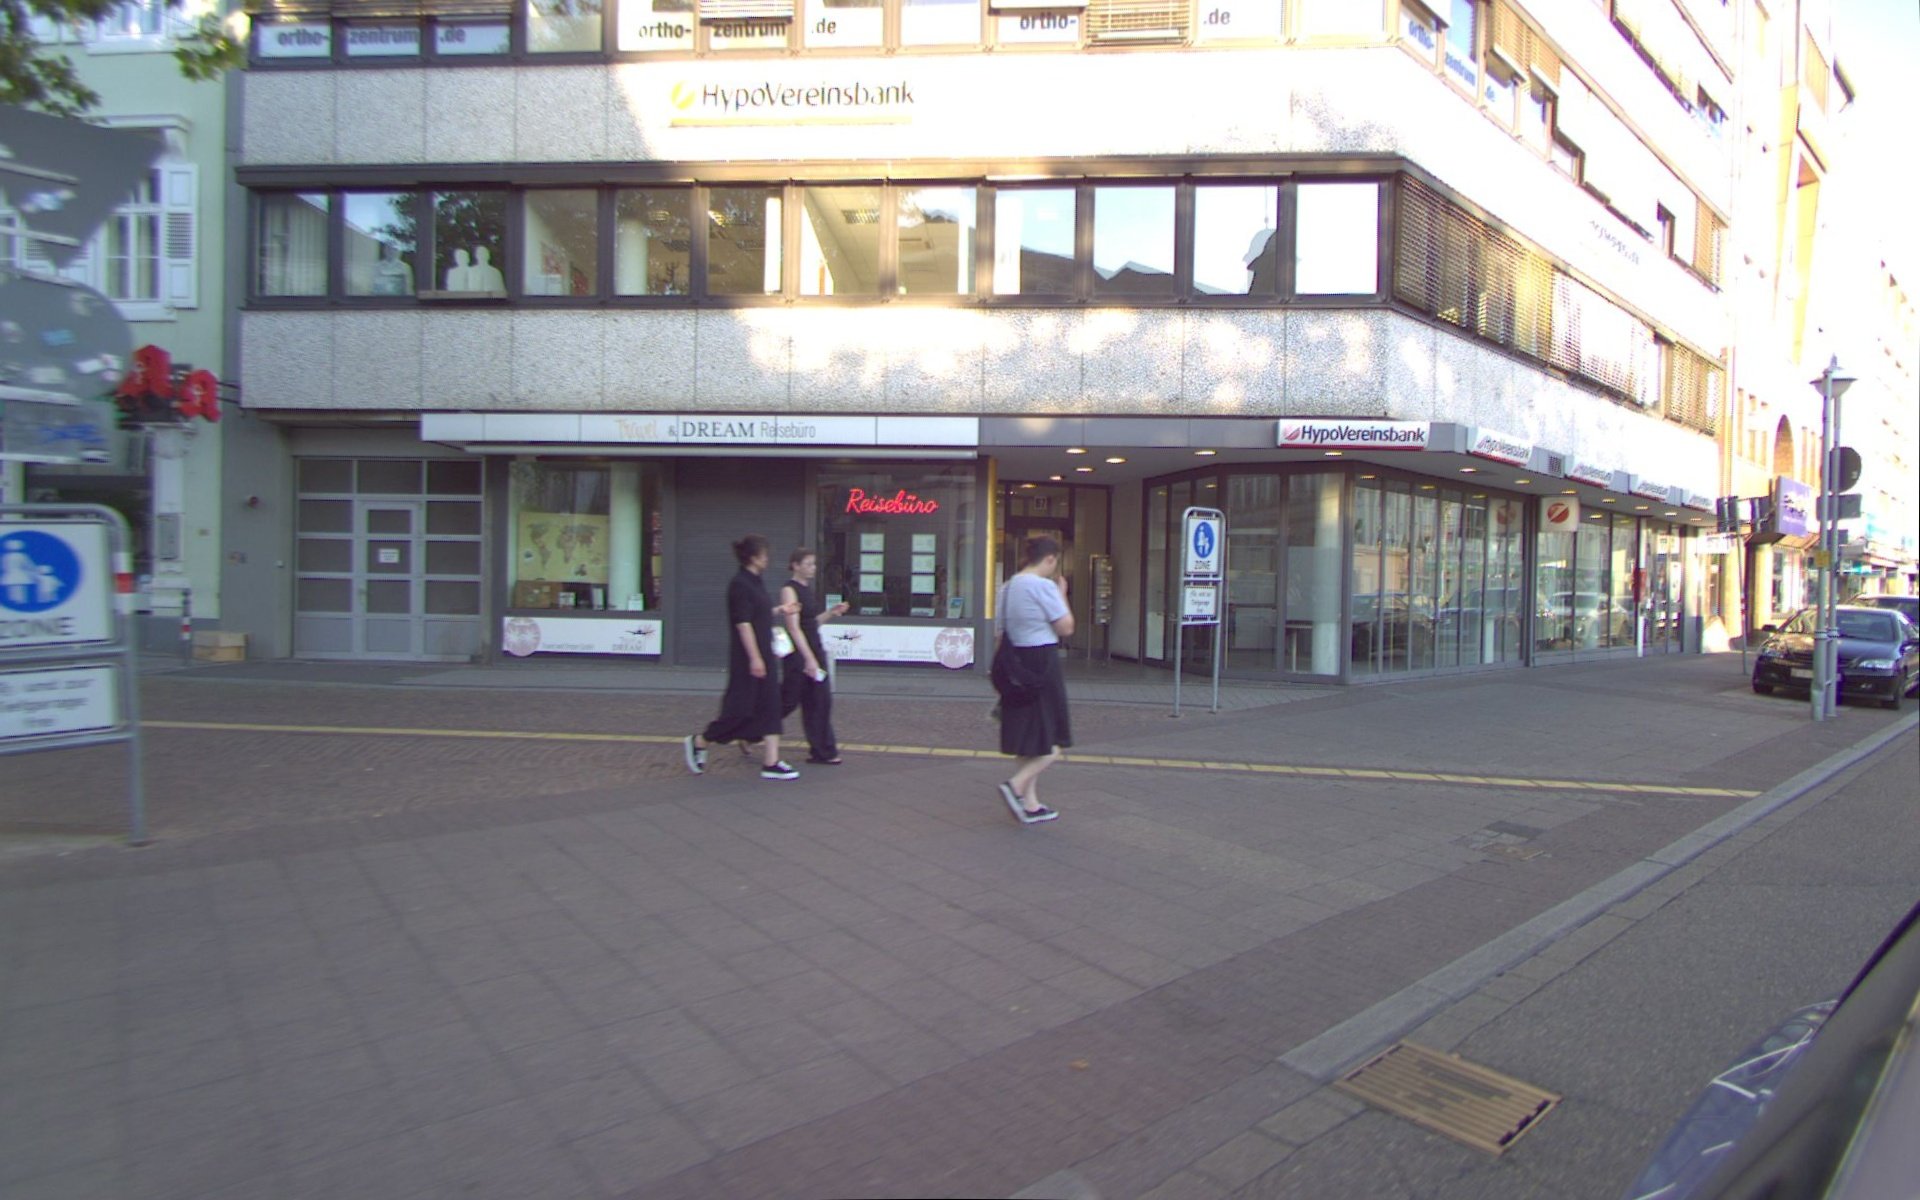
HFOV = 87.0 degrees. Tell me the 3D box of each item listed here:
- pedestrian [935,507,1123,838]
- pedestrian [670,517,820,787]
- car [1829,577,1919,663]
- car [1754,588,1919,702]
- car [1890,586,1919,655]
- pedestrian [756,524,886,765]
[{"bbox_3d":[0.410,0.389,6.101,0.809,1.826,0.716,1,2,-38],"label":"pedestrian"},{"bbox_3d":[-1.466,0.325,7.002,0.811,1.762,0.657,0,2,12],"label":"pedestrian"},{"bbox_3d":[19.065,0.418,20.333,4.497,1.558,1.779,2,0,-41],"label":"car"},{"bbox_3d":[13.801,0.598,15.533,4.264,1.396,1.659,0,5,-41],"label":"car"},{"bbox_3d":[24.370,0.488,24.715,4.638,1.605,1.820,0,1,-40],"label":"car"},{"bbox_3d":[-1.046,0.305,7.716,0.811,1.745,0.657,1,2,12],"label":"pedestrian"}]
